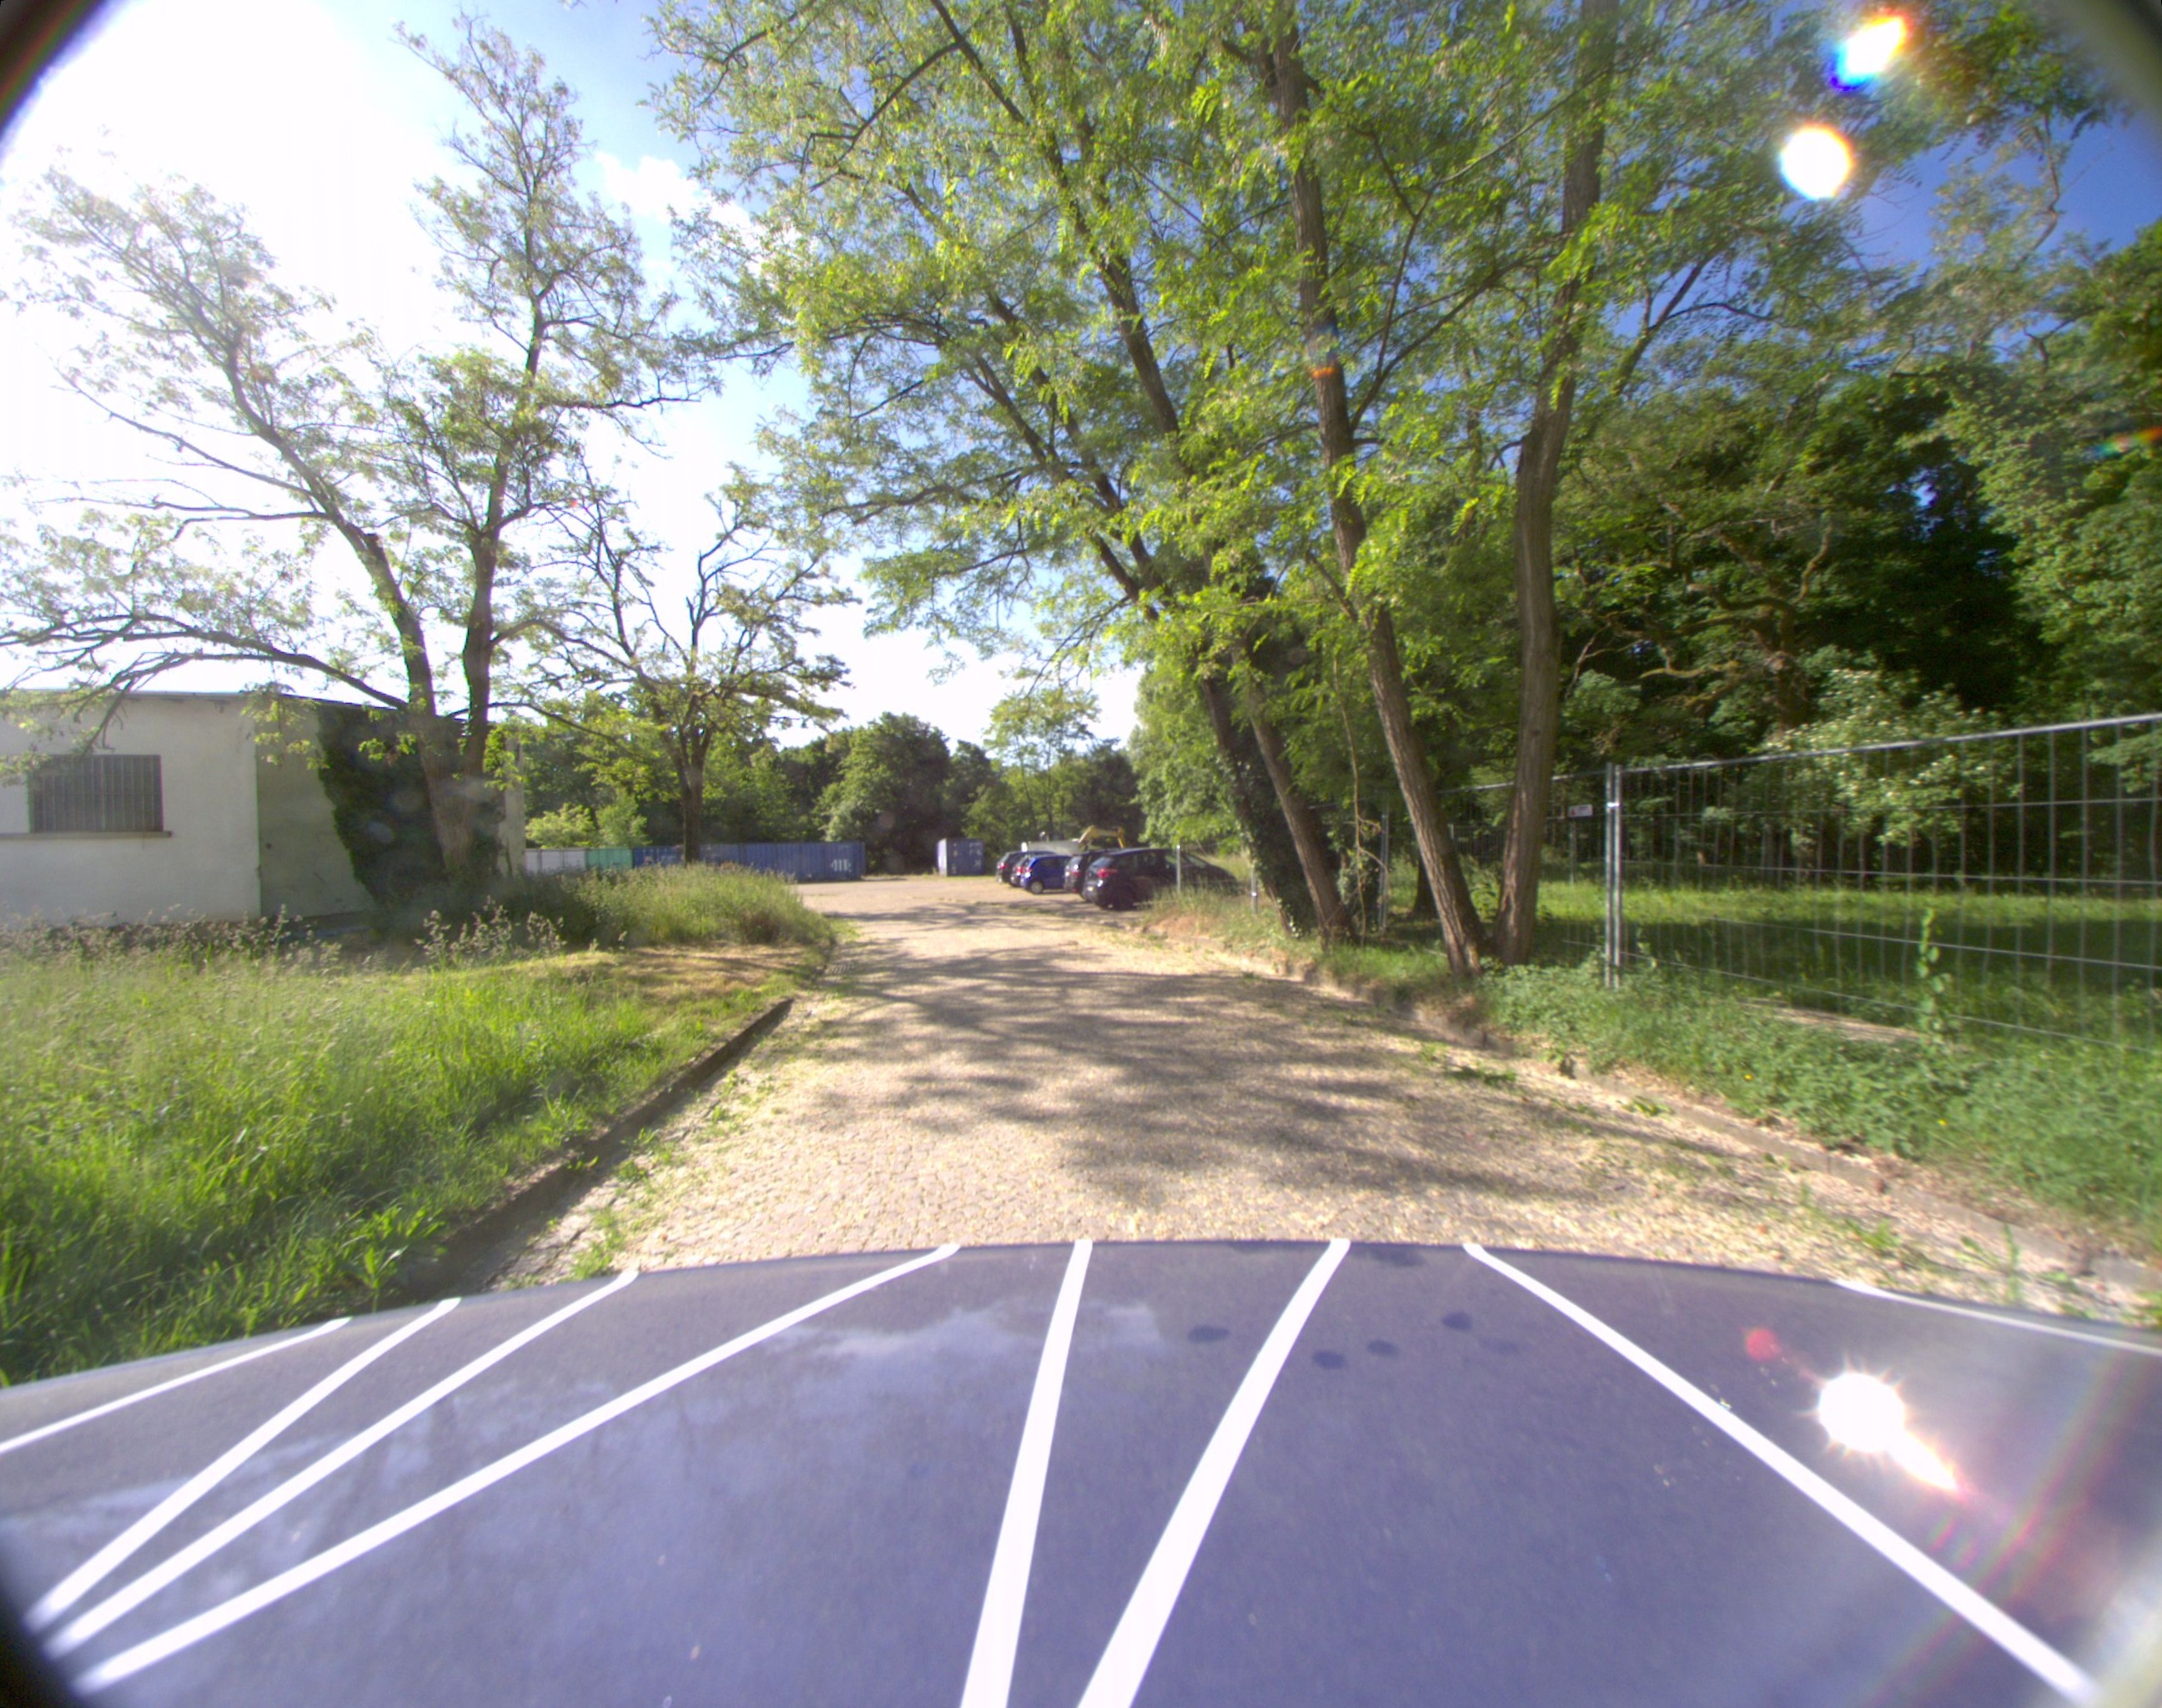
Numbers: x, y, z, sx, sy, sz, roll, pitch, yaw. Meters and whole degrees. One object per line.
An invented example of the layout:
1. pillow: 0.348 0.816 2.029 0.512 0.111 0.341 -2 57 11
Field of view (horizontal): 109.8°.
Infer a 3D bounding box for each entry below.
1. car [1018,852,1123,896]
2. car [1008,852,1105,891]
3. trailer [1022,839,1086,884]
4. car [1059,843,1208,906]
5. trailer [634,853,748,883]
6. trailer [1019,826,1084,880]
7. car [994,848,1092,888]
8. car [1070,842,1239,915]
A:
1. car: -0.434 0.731 29.741 3.791 1.450 1.783 -3 2 -12
2. car: -1.083 0.719 32.296 3.791 1.403 1.893 -3 1 -13
3. trailer: -1.351 0.333 37.633 2.851 2.039 1.822 -3 2 -12
4. car: 1.666 0.599 24.302 4.275 1.622 1.877 -4 2 -17
5. trailer: -20.661 0.708 40.475 4.863 1.406 2.646 -1 1 -13
6. trailer: -1.583 -0.058 39.915 2.850 2.525 2.263 -5 2 -12
7. car: -1.754 0.596 34.661 4.132 1.581 1.968 -3 2 -13
8. car: 2.052 0.642 21.496 4.275 1.580 1.827 -5 1 -18
